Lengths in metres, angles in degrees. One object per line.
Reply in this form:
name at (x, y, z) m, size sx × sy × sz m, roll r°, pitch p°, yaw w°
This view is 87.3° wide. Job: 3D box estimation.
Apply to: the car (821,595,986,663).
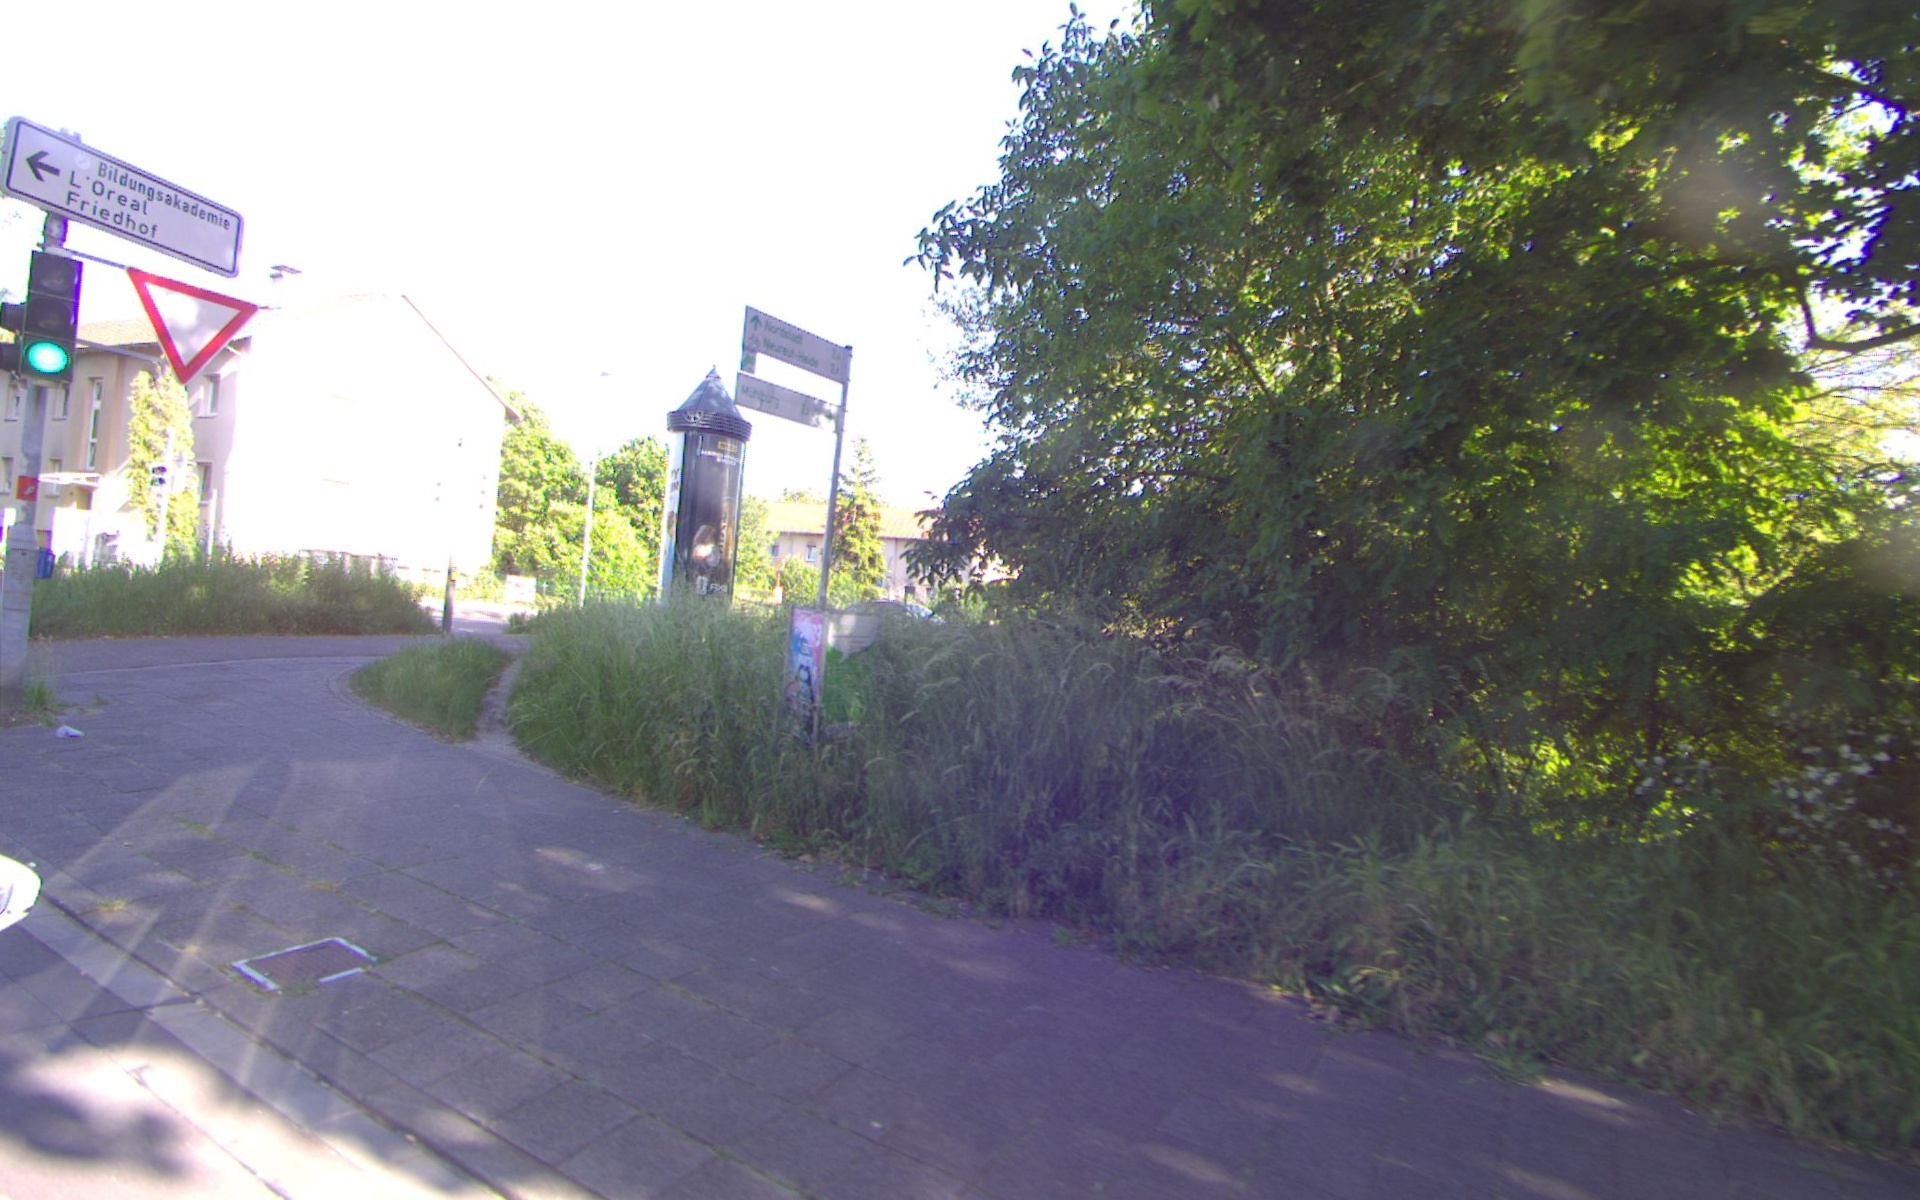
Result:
car at (-1.665, 0.847, 29.295) m, size 4.372 × 1.669 × 1.868 m, roll 2°, pitch -4°, yaw 28°
